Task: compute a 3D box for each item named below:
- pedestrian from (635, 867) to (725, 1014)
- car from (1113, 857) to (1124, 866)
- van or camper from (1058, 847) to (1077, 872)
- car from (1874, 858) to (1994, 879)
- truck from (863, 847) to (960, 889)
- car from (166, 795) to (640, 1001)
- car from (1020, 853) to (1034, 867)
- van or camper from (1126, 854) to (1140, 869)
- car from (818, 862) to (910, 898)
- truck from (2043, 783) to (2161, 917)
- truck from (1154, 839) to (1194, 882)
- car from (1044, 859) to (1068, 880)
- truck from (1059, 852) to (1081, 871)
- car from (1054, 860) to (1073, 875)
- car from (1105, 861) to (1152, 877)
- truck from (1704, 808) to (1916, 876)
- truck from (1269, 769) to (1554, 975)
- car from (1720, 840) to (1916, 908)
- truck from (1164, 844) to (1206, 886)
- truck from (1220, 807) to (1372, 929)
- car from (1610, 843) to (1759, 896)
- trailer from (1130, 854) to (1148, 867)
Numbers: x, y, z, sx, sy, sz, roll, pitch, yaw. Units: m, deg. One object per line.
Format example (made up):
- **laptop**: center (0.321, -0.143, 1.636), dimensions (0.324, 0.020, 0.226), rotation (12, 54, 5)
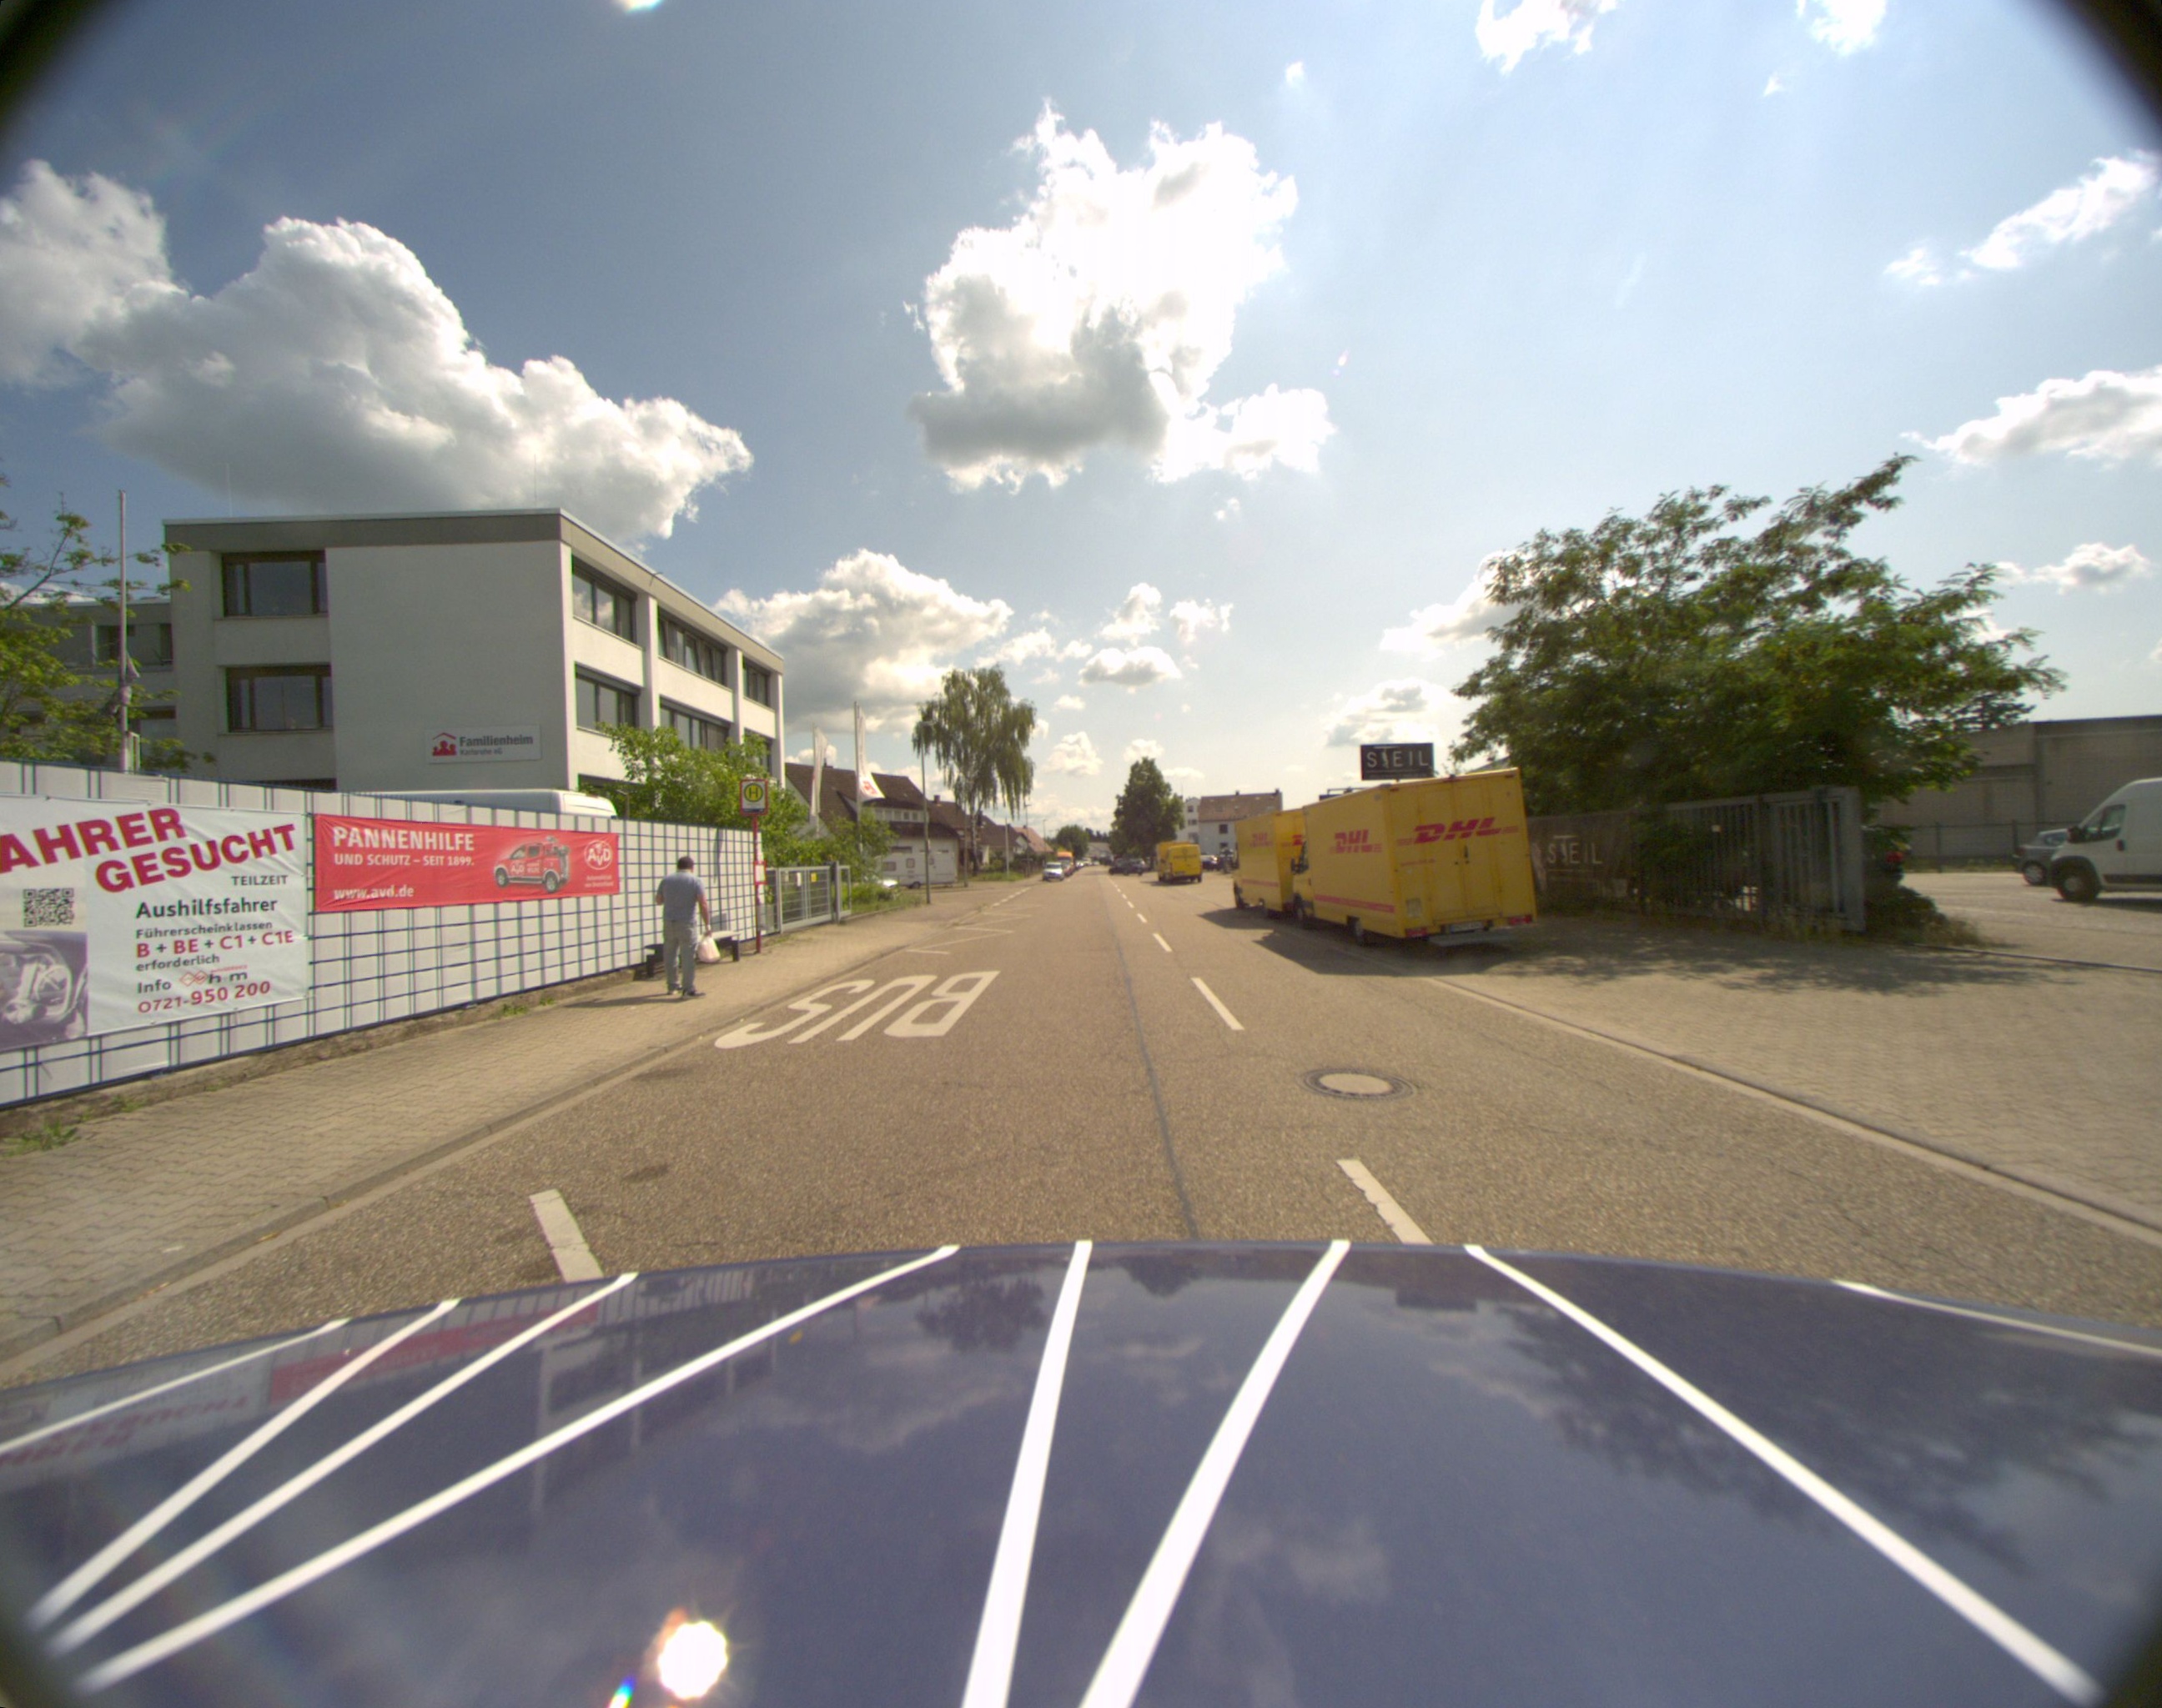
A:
- **pedestrian**: center (-4.832, 1.022, 9.193), dimensions (0.717, 1.687, 0.522), rotation (4, 0, -3)
- **car**: center (7.730, 1.545, 156.570), dimensions (1.814, 1.795, 4.491), rotation (-5, 0, 1)
- **van or camper**: center (-1.532, 0.637, 87.778), dimensions (1.999, 2.648, 5.769), rotation (-2, 0, -1)
- **car**: center (32.231, 0.551, 28.753), dimensions (3.058, 0.717, 1.010), rotation (-1, 0, 10)
- **truck**: center (-11.716, 0.964, 52.538), dimensions (6.067, 2.562, 2.561), rotation (-2, 0, -25)
- **car**: center (-9.753, 0.566, 11.386), dimensions (4.922, 2.636, 2.072), rotation (-2, 0, -6)
- **car**: center (-7.420, 0.825, 104.421), dimensions (1.862, 1.854, 5.019), rotation (-2, 0, -4)
- **van or camper**: center (8.651, 1.270, 127.038), dimensions (1.998, 2.303, 5.935), rotation (-5, 0, 4)
- **car**: center (-11.688, 1.412, 40.926), dimensions (4.400, 1.742, 1.867), rotation (-2, 1, 19)
- **truck**: center (20.773, -0.108, 13.118), dimensions (2.113, 2.473, 5.727), rotation (-2, 0, 15)
- **truck**: center (6.704, 0.461, 55.502), dimensions (2.225, 2.840, 7.070), rotation (-3, 0, 3)
- **car**: center (-2.096, 1.287, 64.126), dimensions (1.614, 1.571, 4.001), rotation (-3, 0, 3)
- **truck**: center (-1.467, 0.975, 102.860), dimensions (2.528, 2.286, 5.896), rotation (-4, 0, 2)
- **car**: center (-1.750, 1.310, 75.609), dimensions (1.673, 1.327, 4.438), rotation (-2, 0, 1)
- **car**: center (4.745, 1.506, 76.198), dimensions (2.003, 1.386, 4.581), rotation (-4, 0, -41)
- **truck**: center (32.083, -0.490, 33.715), dimensions (6.426, 2.749, 2.327), rotation (-1, 0, 14)
- **truck**: center (5.712, 0.283, 14.667), dimensions (2.322, 2.845, 7.105), rotation (-4, 0, 1)
- **car**: center (18.234, 0.461, 19.083), dimensions (1.768, 1.504, 3.921), rotation (-2, 0, 14)
- **truck**: center (6.560, 0.686, 48.462), dimensions (1.998, 2.399, 6.065), rotation (-4, 0, 3)
- **truck**: center (5.848, 0.374, 21.947), dimensions (2.275, 2.837, 7.175), rotation (-3, 0, 0)
- **car**: center (16.165, 0.419, 20.620), dimensions (1.812, 1.297, 3.874), rotation (-1, -1, 16)
- **trailer**: center (6.738, 0.752, 88.819), dimensions (1.766, 1.282, 4.508), rotation (-5, 0, 1)
